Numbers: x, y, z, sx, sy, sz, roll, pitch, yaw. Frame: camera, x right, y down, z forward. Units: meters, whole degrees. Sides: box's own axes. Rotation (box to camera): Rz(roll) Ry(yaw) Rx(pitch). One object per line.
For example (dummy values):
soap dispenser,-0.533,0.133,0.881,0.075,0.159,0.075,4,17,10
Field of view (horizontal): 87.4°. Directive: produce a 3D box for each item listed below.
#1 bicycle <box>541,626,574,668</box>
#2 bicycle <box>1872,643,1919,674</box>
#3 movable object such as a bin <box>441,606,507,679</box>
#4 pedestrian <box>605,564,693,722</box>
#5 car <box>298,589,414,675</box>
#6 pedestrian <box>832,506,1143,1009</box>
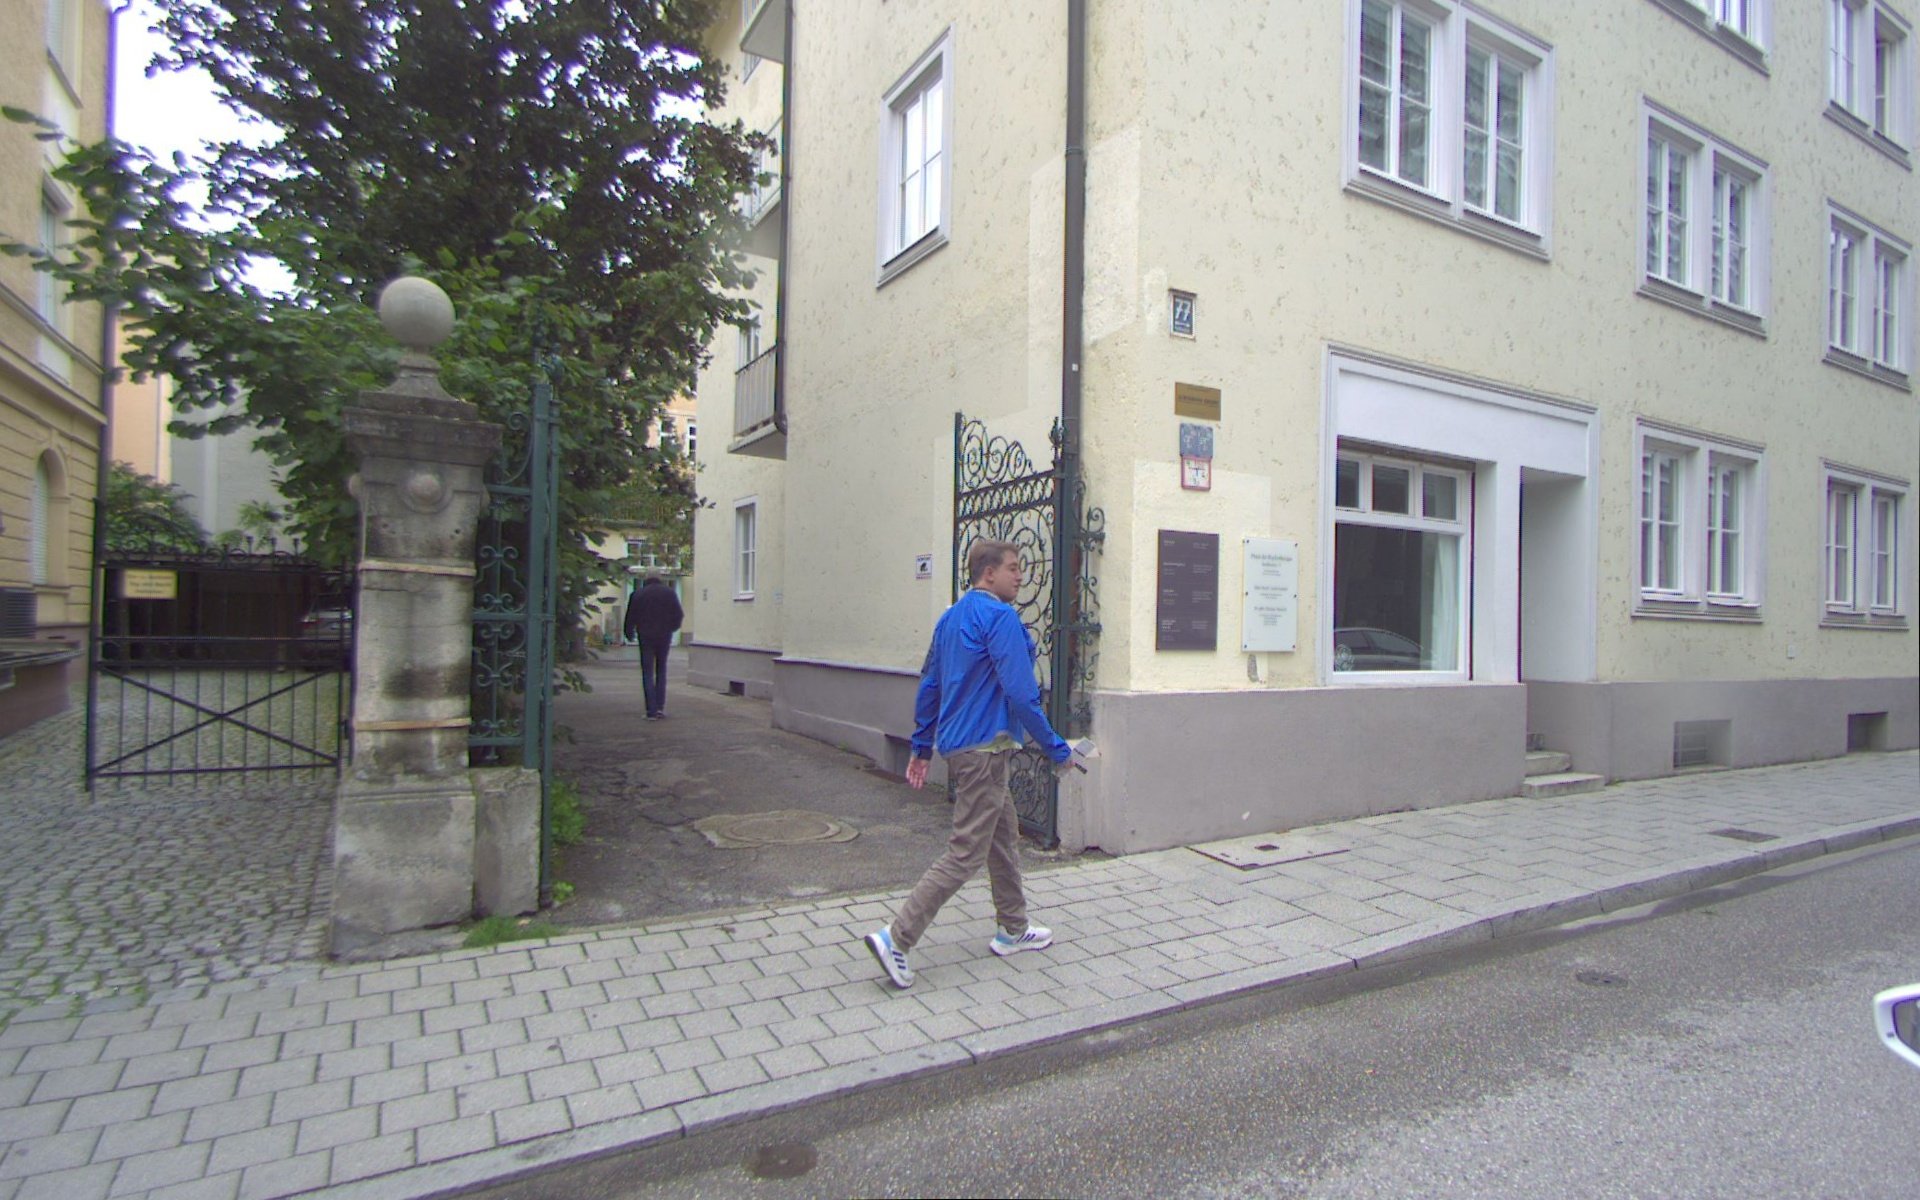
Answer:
bicycle,-9.950,1.143,24.876,0.688,0.985,1.880,1,-1,-21
bicycle,35.052,2.170,37.316,0.590,1.083,1.650,2,0,-25
movable object such as a bin,-9.835,0.847,20.369,1.091,1.422,1.221,1,-1,-22
pedestrian,-3.835,0.518,12.343,0.896,1.851,0.950,1,-1,-24
car,-12.674,0.627,21.256,1.612,1.561,3.709,2,1,-24
pedestrian,0.109,0.598,4.344,1.064,1.879,0.753,2,0,-30
